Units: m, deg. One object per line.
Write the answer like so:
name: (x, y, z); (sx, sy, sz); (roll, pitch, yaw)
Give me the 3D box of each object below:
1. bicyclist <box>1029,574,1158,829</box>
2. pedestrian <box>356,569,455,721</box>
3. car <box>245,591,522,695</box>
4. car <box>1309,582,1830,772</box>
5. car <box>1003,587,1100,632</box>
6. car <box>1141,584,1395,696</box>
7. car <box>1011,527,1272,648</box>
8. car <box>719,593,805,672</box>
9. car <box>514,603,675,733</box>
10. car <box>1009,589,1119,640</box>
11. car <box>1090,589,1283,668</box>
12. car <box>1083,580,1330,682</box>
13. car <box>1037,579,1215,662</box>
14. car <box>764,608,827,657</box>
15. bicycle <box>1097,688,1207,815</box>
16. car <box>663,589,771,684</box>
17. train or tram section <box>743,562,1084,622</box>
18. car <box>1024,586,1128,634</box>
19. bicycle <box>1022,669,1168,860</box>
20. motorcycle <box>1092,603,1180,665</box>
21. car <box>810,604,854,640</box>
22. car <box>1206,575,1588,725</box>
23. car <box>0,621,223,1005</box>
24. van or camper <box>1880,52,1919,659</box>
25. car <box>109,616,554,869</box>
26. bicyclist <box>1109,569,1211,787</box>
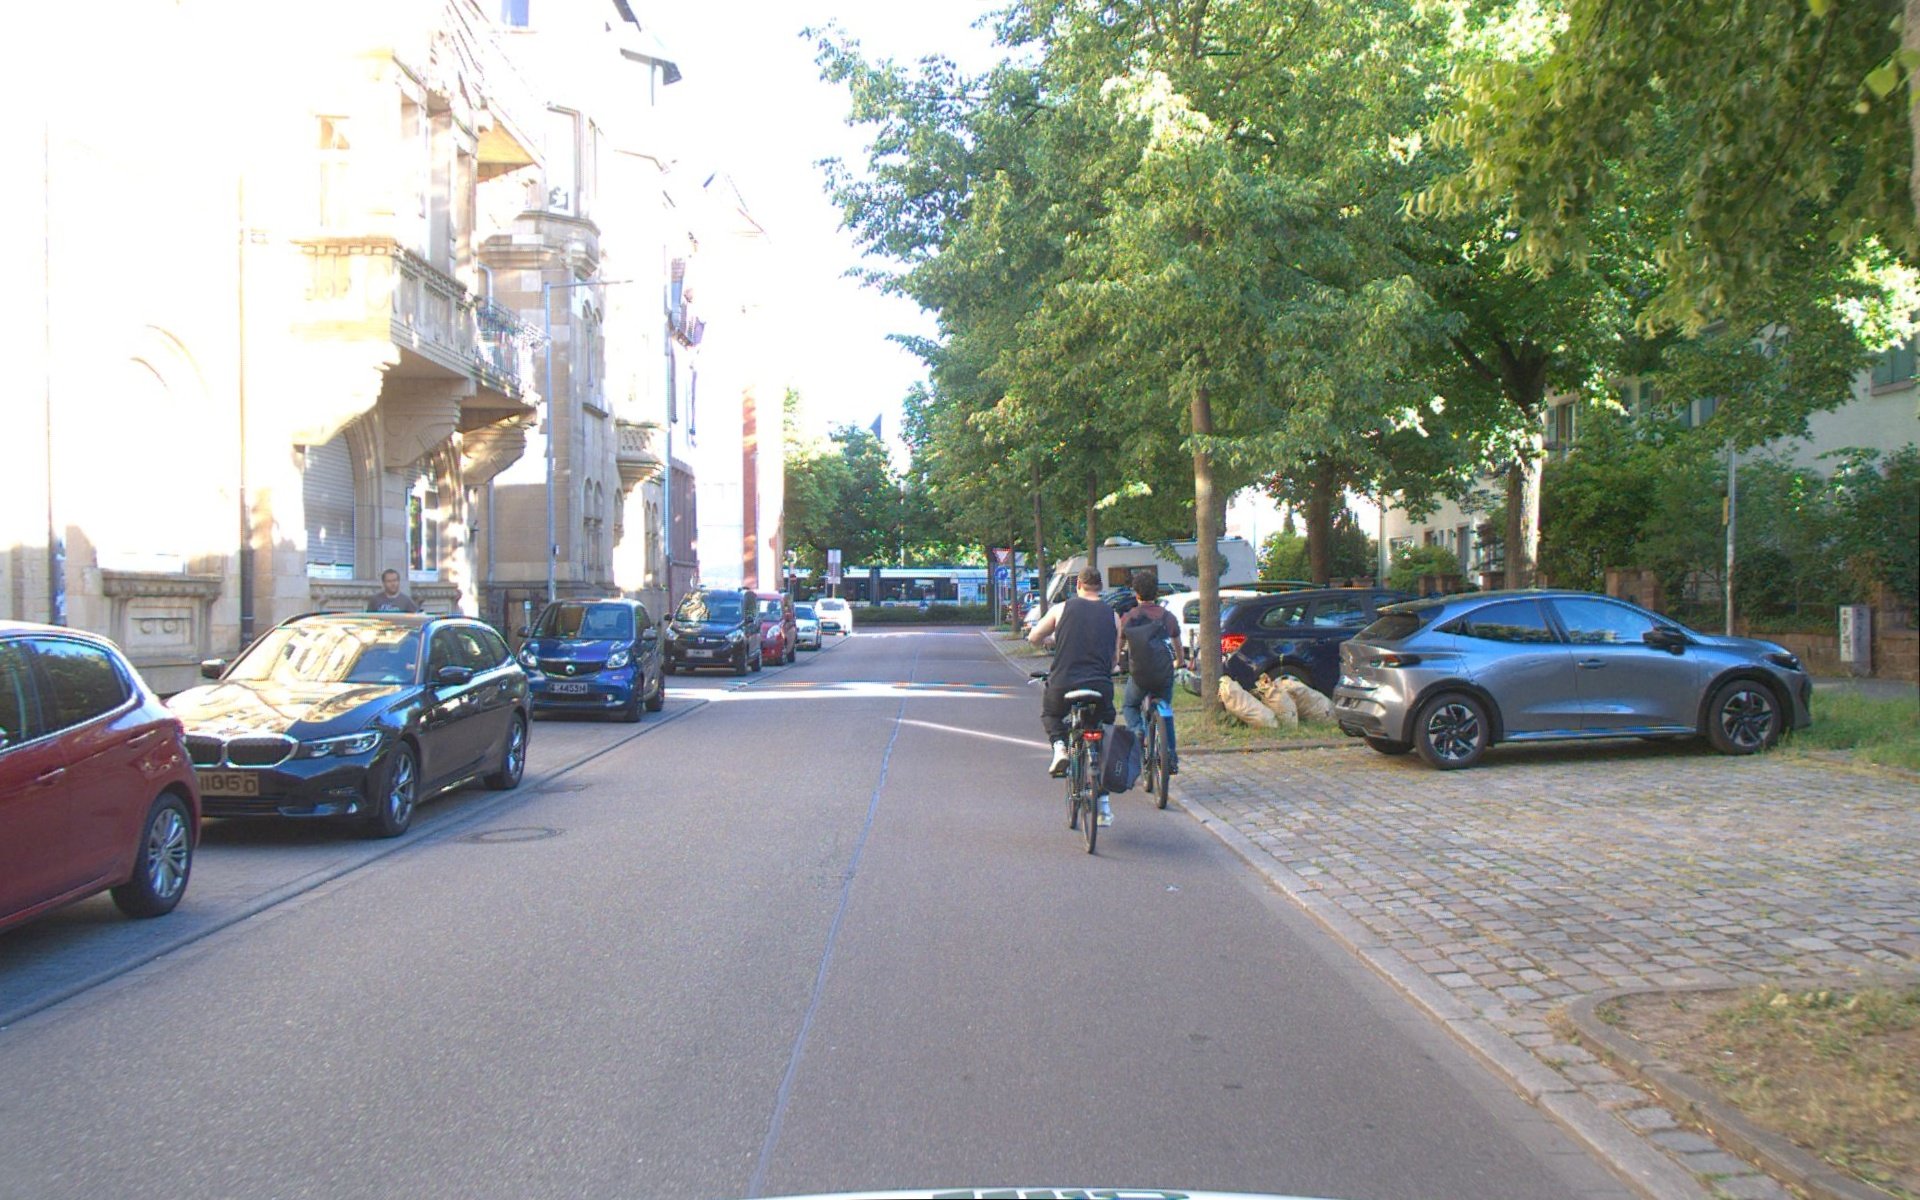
bicyclist: (0.853, 0.638, 10.755); (0.715, 1.575, 0.884); (1, -1, -2)
pedestrian: (-6.624, 0.530, 19.792); (0.919, 1.773, 0.735); (0, -1, -1)
car: (-9.762, 0.704, 28.230); (4.114, 1.697, 1.718); (0, 0, -2)
car: (5.250, 0.628, 14.541); (3.953, 1.479, 1.689); (-1, 0, -5)
car: (3.815, 0.422, 69.530); (3.907, 1.835, 1.833); (0, -1, -3)
car: (4.808, 0.640, 26.205); (3.695, 1.628, 1.691); (-2, -2, 1)
car: (5.111, -0.349, 47.315); (7.006, 3.030, 2.462); (-3, 0, -4)
car: (-4.959, 0.772, 41.934); (1.654, 1.857, 4.272); (1, 1, 0)
car: (-4.784, 0.847, 21.966); (1.563, 1.515, 2.735); (3, 0, -2)
car: (3.855, 0.542, 61.643); (3.907, 1.835, 1.833); (0, -1, -3)
car: (5.091, 0.654, 37.549); (4.056, 1.628, 1.701); (-1, -2, -3)
car: (4.245, 0.547, 28.908); (4.053, 1.628, 1.702); (-2, -2, 1)
car: (3.971, 0.492, 39.965); (4.002, 1.678, 1.640); (-4, 0, -3)
car: (-5.174, 1.000, 52.376); (1.551, 1.367, 4.131); (1, 1, 0)
bicycle: (1.498, 1.171, 13.164); (0.620, 0.813, 1.832); (-1, 0, -1)
car: (-5.039, 0.703, 34.749); (1.607, 1.814, 4.354); (1, 1, 0)
train or tram section: (-2.880, -0.445, 112.922); (23.484, 3.773, 4.255); (1, -1, -24)
car: (4.572, 0.386, 65.410); (3.907, 1.835, 1.833); (0, -1, -3)
bicycle: (0.843, 1.020, 10.818); (0.722, 1.072, 1.955); (1, -1, -2)
motorcycle: (3.428, 0.668, 32.245); (1.574, 1.161, 0.671); (-1, 0, 33)
car: (-5.413, 0.926, 70.231); (1.551, 1.399, 4.131); (1, 1, 0)
car: (5.170, 0.606, 19.957); (4.136, 1.628, 1.691); (-2, -2, 1)
car: (-4.627, 0.866, 6.855); (1.596, 1.479, 3.835); (0, 0, -3)
van or camper: (5.609, -0.083, 2.414); (7.001, 2.692, 2.465); (-4, 0, 1)
car: (-4.486, 0.911, 12.606); (1.641, 1.455, 4.550); (1, 1, 0)
bicyclist: (1.569, 0.594, 13.109); (0.675, 1.655, 0.998); (0, 0, 0)
